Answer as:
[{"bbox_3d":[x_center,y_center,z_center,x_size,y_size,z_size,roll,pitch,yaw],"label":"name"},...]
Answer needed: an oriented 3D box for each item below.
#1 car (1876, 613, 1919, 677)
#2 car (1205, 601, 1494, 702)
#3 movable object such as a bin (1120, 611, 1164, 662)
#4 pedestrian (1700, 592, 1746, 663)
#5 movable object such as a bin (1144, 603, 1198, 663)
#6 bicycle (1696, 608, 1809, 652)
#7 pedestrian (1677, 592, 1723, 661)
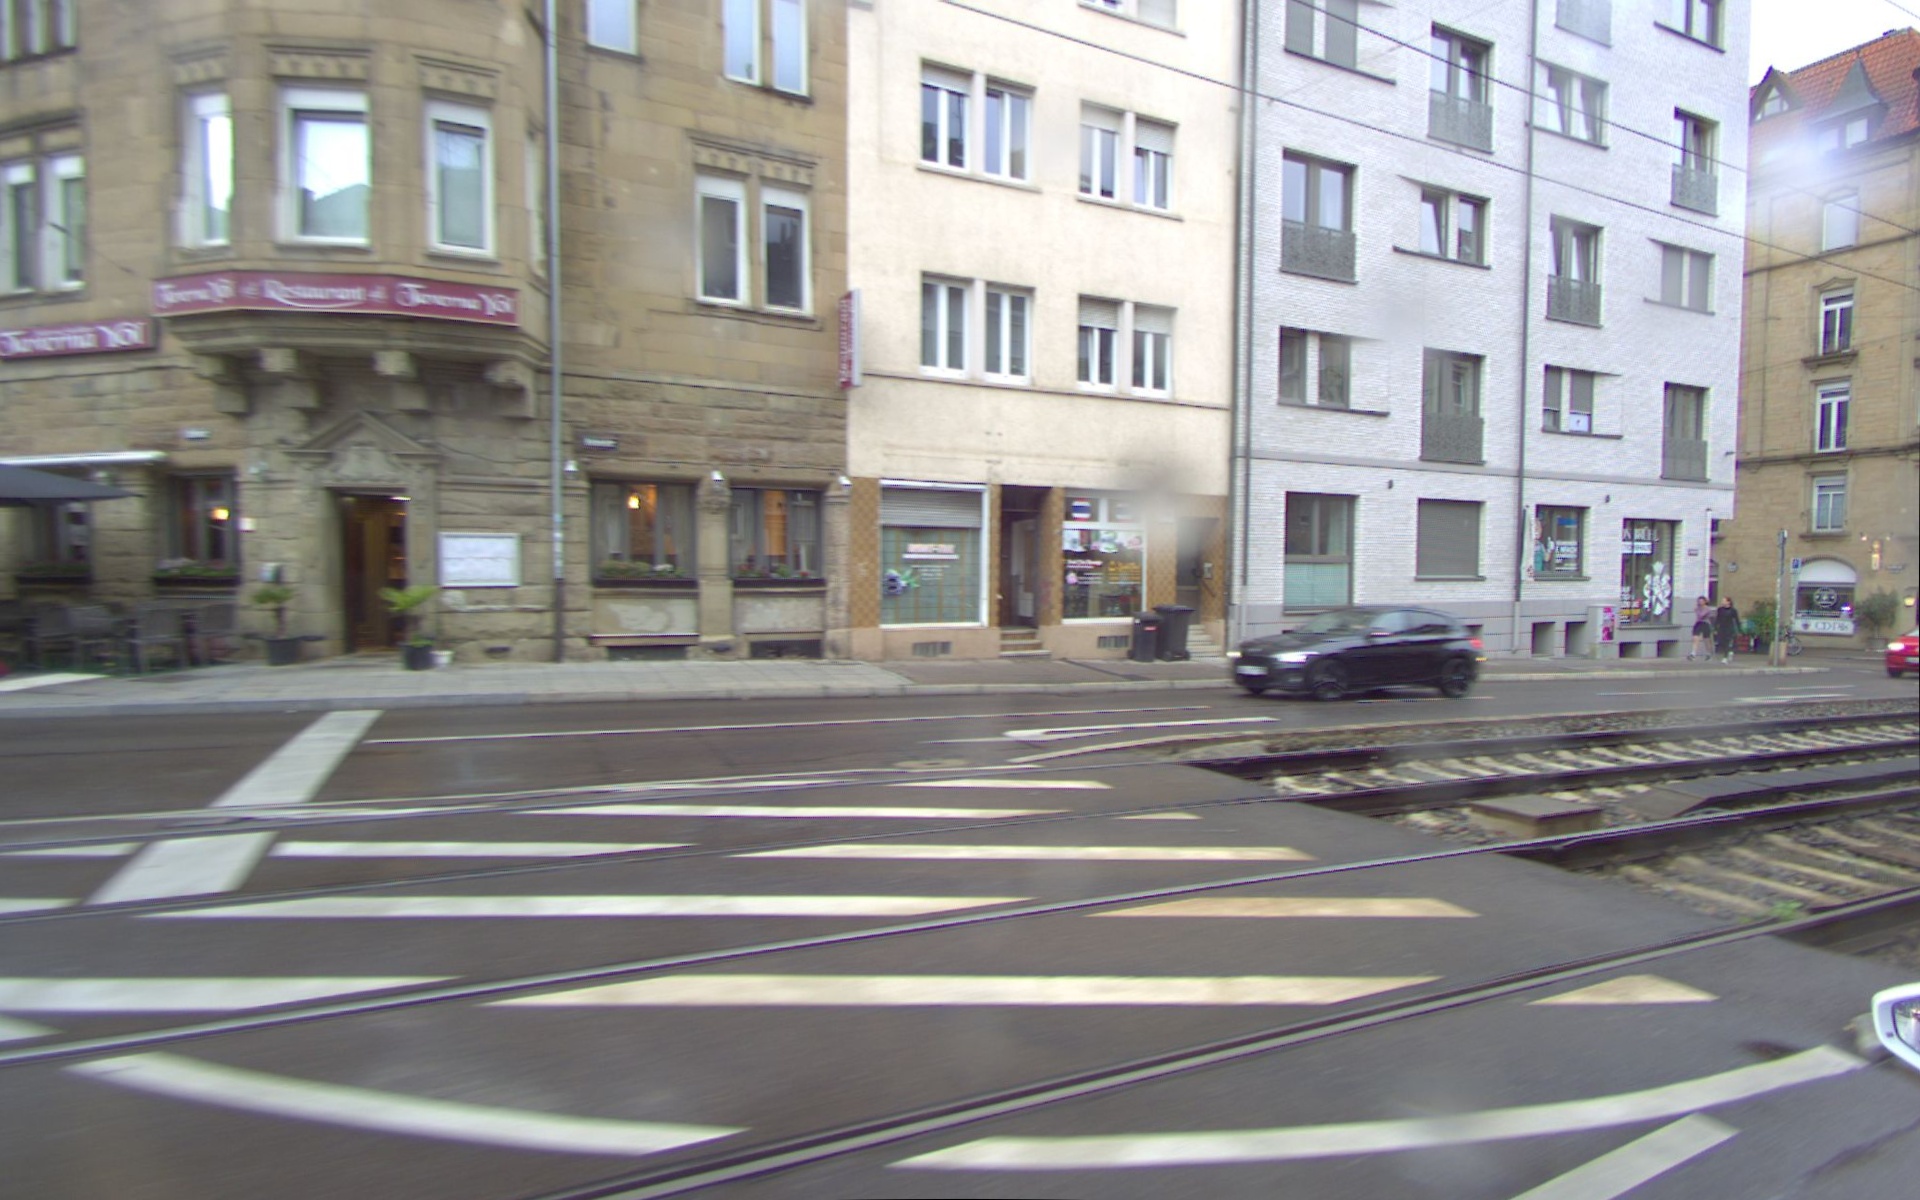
[{"bbox_3d":[24.261,1.100,24.492,3.471,1.517,1.675,1,0,-25],"label":"car"},{"bbox_3d":[6.198,0.768,15.963,4.217,1.415,1.942,1,-1,-26],"label":"car"},{"bbox_3d":[3.513,0.704,19.372,0.553,0.923,0.591,1,4,-26],"label":"movable object such as a bin"},{"bbox_3d":[19.908,0.726,26.202,0.870,1.810,0.627,2,-1,-26],"label":"pedestrian"},{"bbox_3d":[4.109,0.634,19.594,0.678,1.088,0.710,1,4,-26],"label":"movable object such as a bin"},{"bbox_3d":[30.270,1.115,38.423,1.583,1.605,3.123,1,0,-37],"label":"bicycle"},{"bbox_3d":[19.775,0.713,26.842,0.911,1.810,0.638,2,-1,-26],"label":"pedestrian"}]
